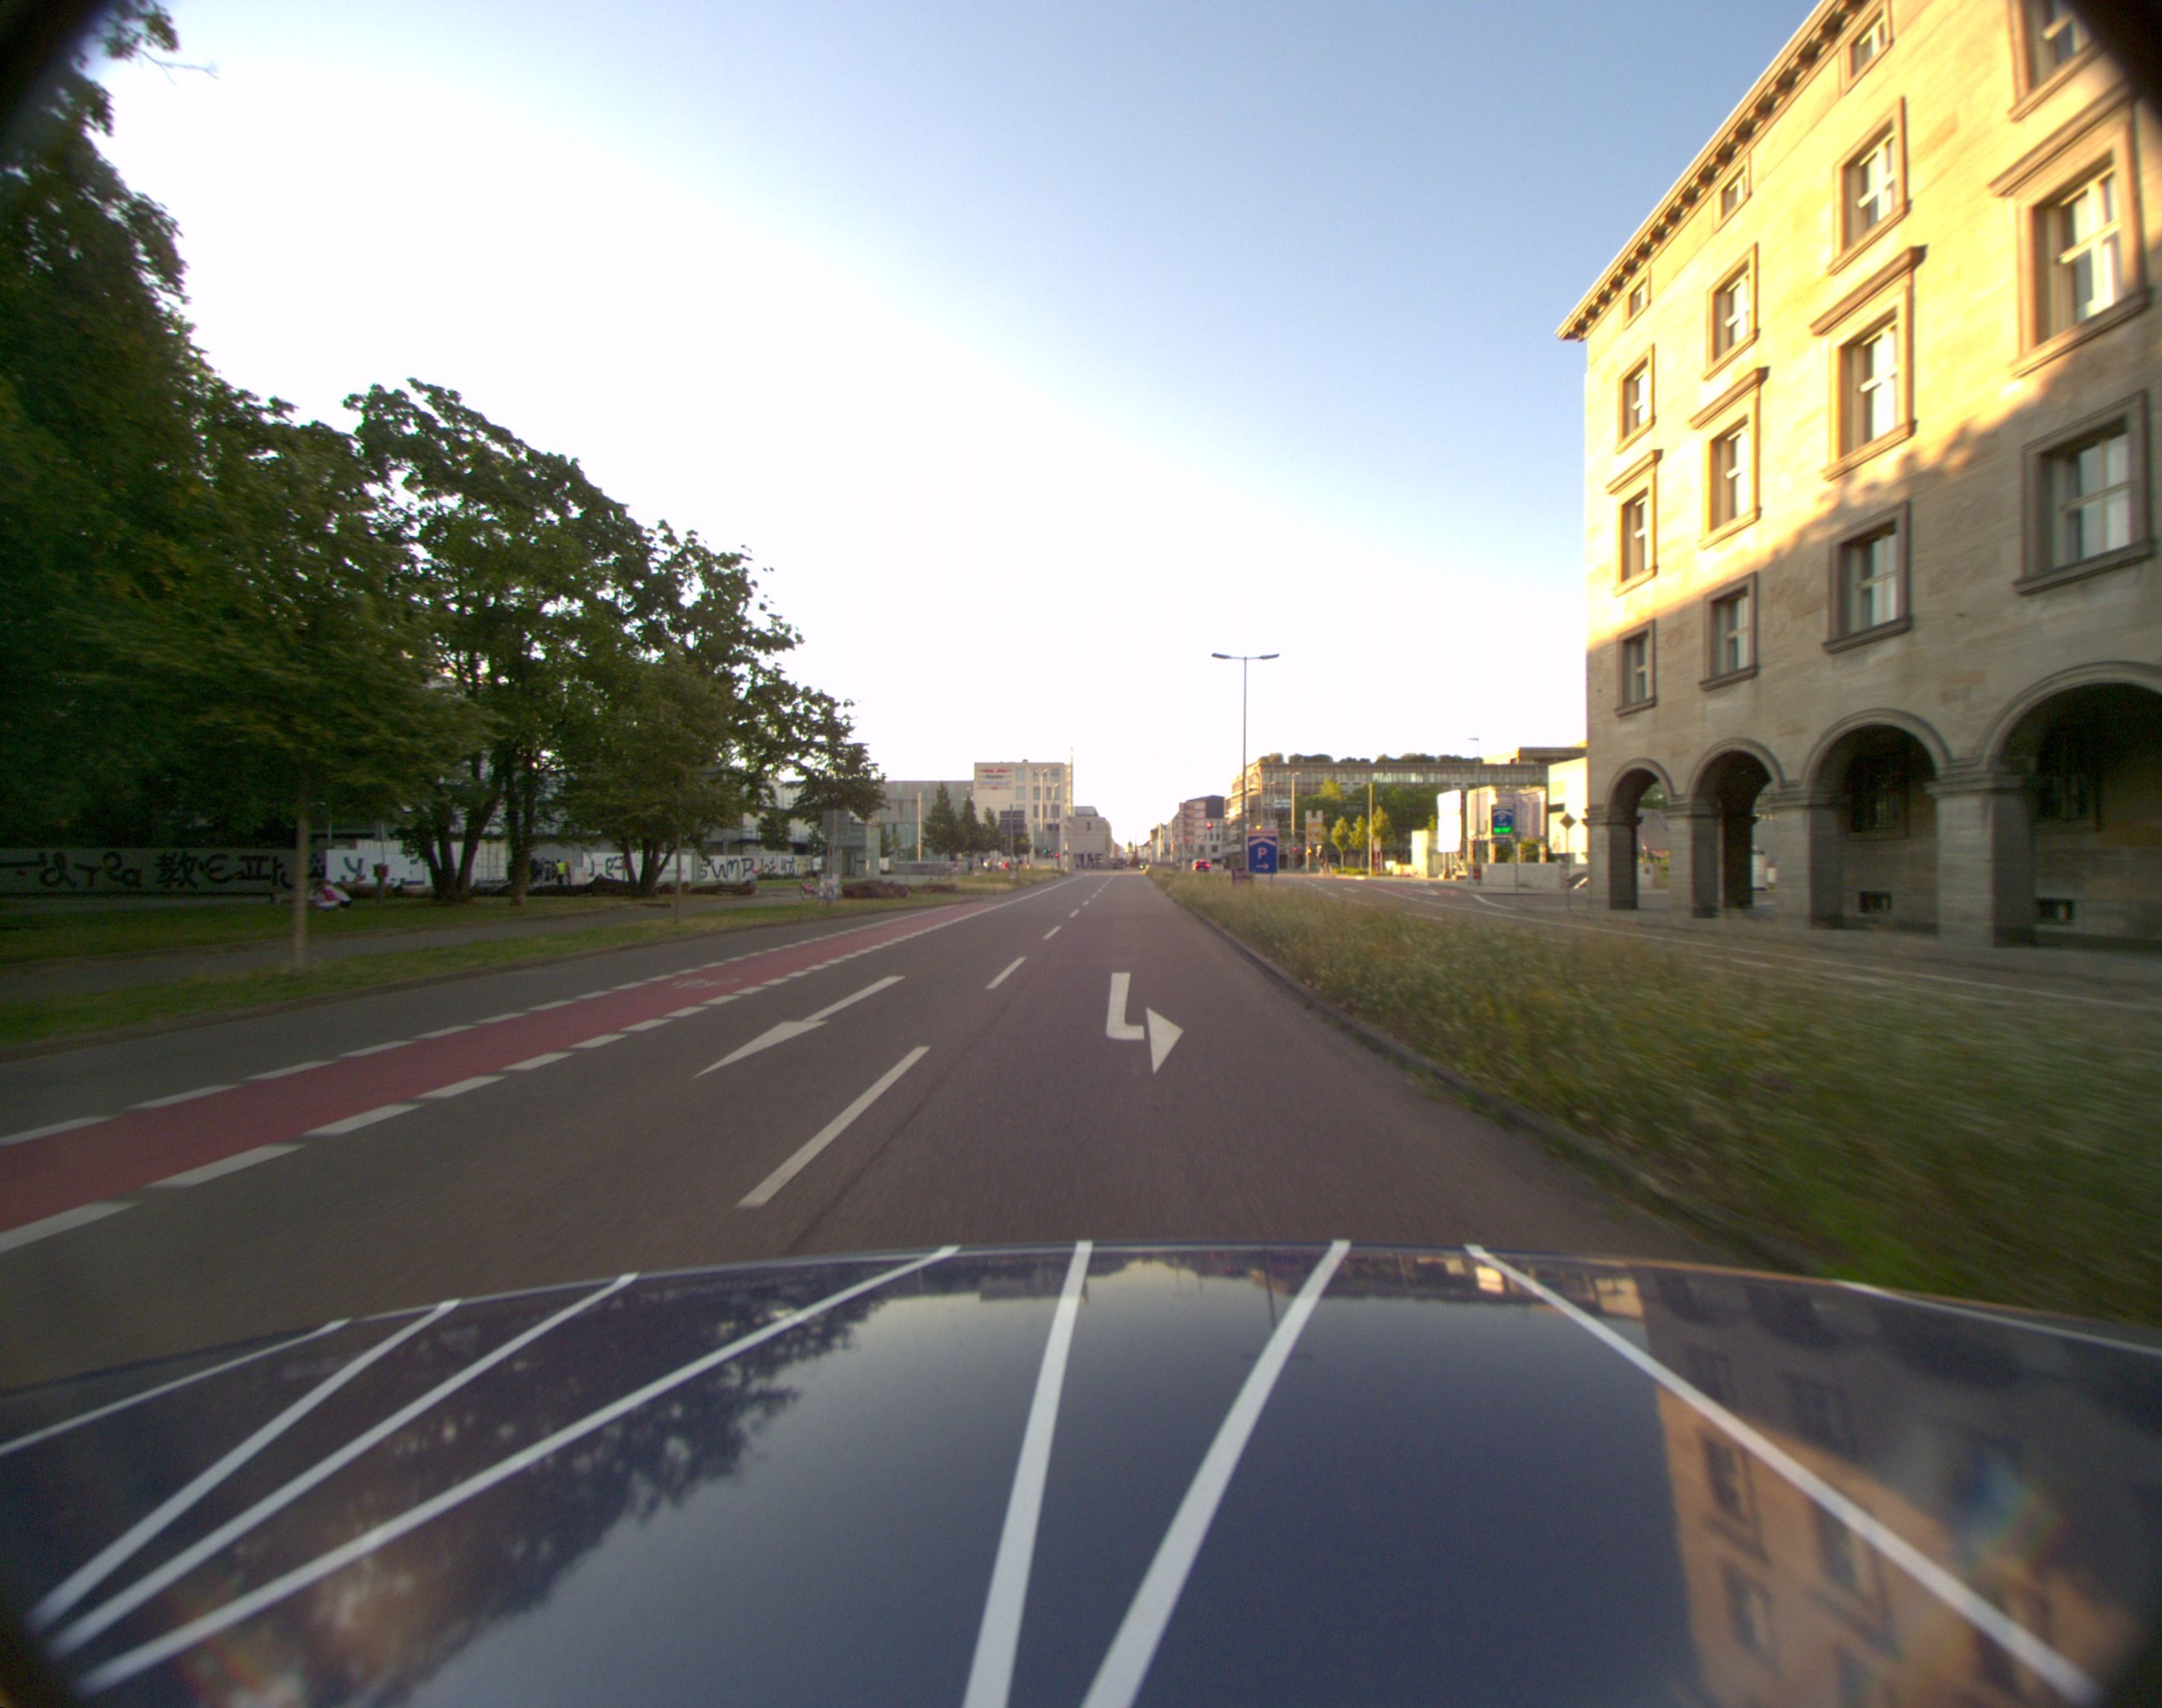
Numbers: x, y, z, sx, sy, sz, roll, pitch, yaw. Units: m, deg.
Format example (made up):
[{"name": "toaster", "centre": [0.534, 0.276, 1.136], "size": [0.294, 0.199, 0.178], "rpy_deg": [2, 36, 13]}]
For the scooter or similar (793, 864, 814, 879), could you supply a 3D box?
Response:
[{"name": "scooter or similar", "centre": [-23.655, 1.480, 64.739], "size": [1.573, 1.213, 0.475], "rpy_deg": [-2, 0, 1]}]

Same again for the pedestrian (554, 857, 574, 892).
[{"name": "pedestrian", "centre": [-28.876, 1.145, 42.425], "size": [0.768, 1.908, 0.601], "rpy_deg": [0, 0, 18]}]

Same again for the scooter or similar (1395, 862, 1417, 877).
[{"name": "scooter or similar", "centre": [29.857, 1.432, 69.862], "size": [1.835, 1.297, 0.423], "rpy_deg": [0, 0, -3]}]

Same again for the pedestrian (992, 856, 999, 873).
[{"name": "pedestrian", "centre": [-9.472, 1.152, 84.000], "size": [0.644, 1.922, 0.620], "rpy_deg": [0, 0, 6]}]

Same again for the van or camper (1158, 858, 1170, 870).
[{"name": "van or camper", "centre": [19.781, 2.364, 180.784], "size": [2.232, 2.650, 6.164], "rpy_deg": [0, -1, -1]}]

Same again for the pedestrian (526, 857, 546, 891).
[{"name": "pedestrian", "centre": [-31.025, 1.121, 43.271], "size": [0.768, 1.890, 0.601], "rpy_deg": [0, 0, 18]}]

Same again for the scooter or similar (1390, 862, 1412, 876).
[{"name": "scooter or similar", "centre": [29.812, 1.437, 70.855], "size": [1.863, 1.297, 0.500], "rpy_deg": [0, 0, -3]}]

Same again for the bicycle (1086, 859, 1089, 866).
[{"name": "bicycle", "centre": [1.313, 1.750, 153.638], "size": [0.618, 1.316, 2.510], "rpy_deg": [0, 0, 2]}]

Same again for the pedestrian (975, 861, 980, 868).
[{"name": "pedestrian", "centre": [-15.165, 1.578, 111.327], "size": [0.649, 0.957, 0.654], "rpy_deg": [0, 0, -2]}]

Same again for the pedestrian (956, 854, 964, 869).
[{"name": "pedestrian", "centre": [-12.445, 0.779, 78.341], "size": [0.762, 1.481, 0.644], "rpy_deg": [0, -2, -1]}]

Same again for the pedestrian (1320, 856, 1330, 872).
[{"name": "pedestrian", "centre": [28.397, 1.125, 88.434], "size": [0.873, 1.826, 0.776], "rpy_deg": [0, 0, 5]}]

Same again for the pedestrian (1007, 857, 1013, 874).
[{"name": "pedestrian", "centre": [-7.937, 1.302, 84.843], "size": [0.644, 1.922, 0.619], "rpy_deg": [0, 0, 4]}]

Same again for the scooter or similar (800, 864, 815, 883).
[{"name": "scooter or similar", "centre": [-18.577, 1.333, 51.548], "size": [0.474, 1.213, 1.574], "rpy_deg": [2, 0, -3]}]

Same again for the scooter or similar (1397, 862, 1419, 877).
[{"name": "scooter or similar", "centre": [29.868, 1.423, 69.420], "size": [1.840, 1.297, 0.423], "rpy_deg": [0, 0, -3]}]

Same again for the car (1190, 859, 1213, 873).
[{"name": "car", "centre": [13.123, 1.258, 82.929], "size": [1.891, 1.457, 4.539], "rpy_deg": [0, -1, 2]}]

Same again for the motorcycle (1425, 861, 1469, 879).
[{"name": "motorcycle", "centre": [30.478, 1.308, 63.302], "size": [3.240, 1.375, 0.840], "rpy_deg": [-1, 0, 2]}]

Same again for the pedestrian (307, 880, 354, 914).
[{"name": "pedestrian", "centre": [-19.750, 1.127, 20.016], "size": [0.682, 0.879, 0.622], "rpy_deg": [0, -1, -21]}]

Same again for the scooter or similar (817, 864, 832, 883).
[{"name": "scooter or similar", "centre": [-17.403, 1.321, 51.558], "size": [0.424, 1.213, 1.399], "rpy_deg": [2, 0, 4]}]

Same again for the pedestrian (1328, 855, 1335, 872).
[{"name": "pedestrian", "centre": [29.233, 1.097, 88.603], "size": [0.660, 1.921, 0.648], "rpy_deg": [0, -1, 5]}]

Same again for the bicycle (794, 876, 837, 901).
[{"name": "bicycle", "centre": [-10.995, 1.420, 31.569], "size": [0.494, 0.999, 1.902], "rpy_deg": [3, 0, 23]}]

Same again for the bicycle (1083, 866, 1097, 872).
[{"name": "bicycle", "centre": [1.841, 3.085, 155.782], "size": [2.803, 1.208, 0.765], "rpy_deg": [0, -1, 13]}]

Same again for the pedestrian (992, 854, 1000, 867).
[{"name": "pedestrian", "centre": [-12.732, 1.017, 113.869], "size": [0.896, 1.843, 0.724], "rpy_deg": [2, 2, -30]}]

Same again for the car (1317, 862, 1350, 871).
[{"name": "car", "centre": [43.845, 2.136, 132.026], "size": [5.159, 1.575, 2.001], "rpy_deg": [0, -1, 3]}]

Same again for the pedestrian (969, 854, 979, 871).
[{"name": "pedestrian", "centre": [-11.712, 0.933, 83.080], "size": [0.816, 1.804, 1.048], "rpy_deg": [0, -1, 9]}]

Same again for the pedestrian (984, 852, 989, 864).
[{"name": "pedestrian", "centre": [-13.958, 0.610, 112.413], "size": [0.604, 1.843, 0.587], "rpy_deg": [0, 0, 8]}]

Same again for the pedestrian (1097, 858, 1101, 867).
[{"name": "pedestrian", "centre": [3.455, 1.614, 146.576], "size": [0.764, 1.694, 0.835], "rpy_deg": [0, -5, 2]}]

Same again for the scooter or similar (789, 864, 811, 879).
[{"name": "scooter or similar", "centre": [-23.634, 1.488, 63.920], "size": [1.573, 1.213, 0.475], "rpy_deg": [-2, 0, 1]}]

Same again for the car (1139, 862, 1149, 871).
[{"name": "car", "centre": [12.773, 2.574, 153.968], "size": [2.071, 1.642, 4.000], "rpy_deg": [0, 2, 5]}]

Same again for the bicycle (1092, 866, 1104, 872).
[{"name": "bicycle", "centre": [3.703, 3.311, 165.475], "size": [2.507, 1.316, 0.619], "rpy_deg": [0, 0, 3]}]

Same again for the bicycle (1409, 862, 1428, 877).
[{"name": "bicycle", "centre": [29.921, 1.375, 67.411], "size": [0.618, 1.316, 2.510], "rpy_deg": [0, 0, 2]}]

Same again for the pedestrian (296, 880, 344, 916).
[{"name": "pedestrian", "centre": [-19.492, 1.127, 19.469], "size": [0.682, 0.879, 0.592], "rpy_deg": [0, 0, -21]}]

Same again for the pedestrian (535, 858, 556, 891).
[{"name": "pedestrian", "centre": [-30.165, 1.127, 42.803], "size": [0.768, 1.845, 0.601], "rpy_deg": [0, 0, 18]}]
